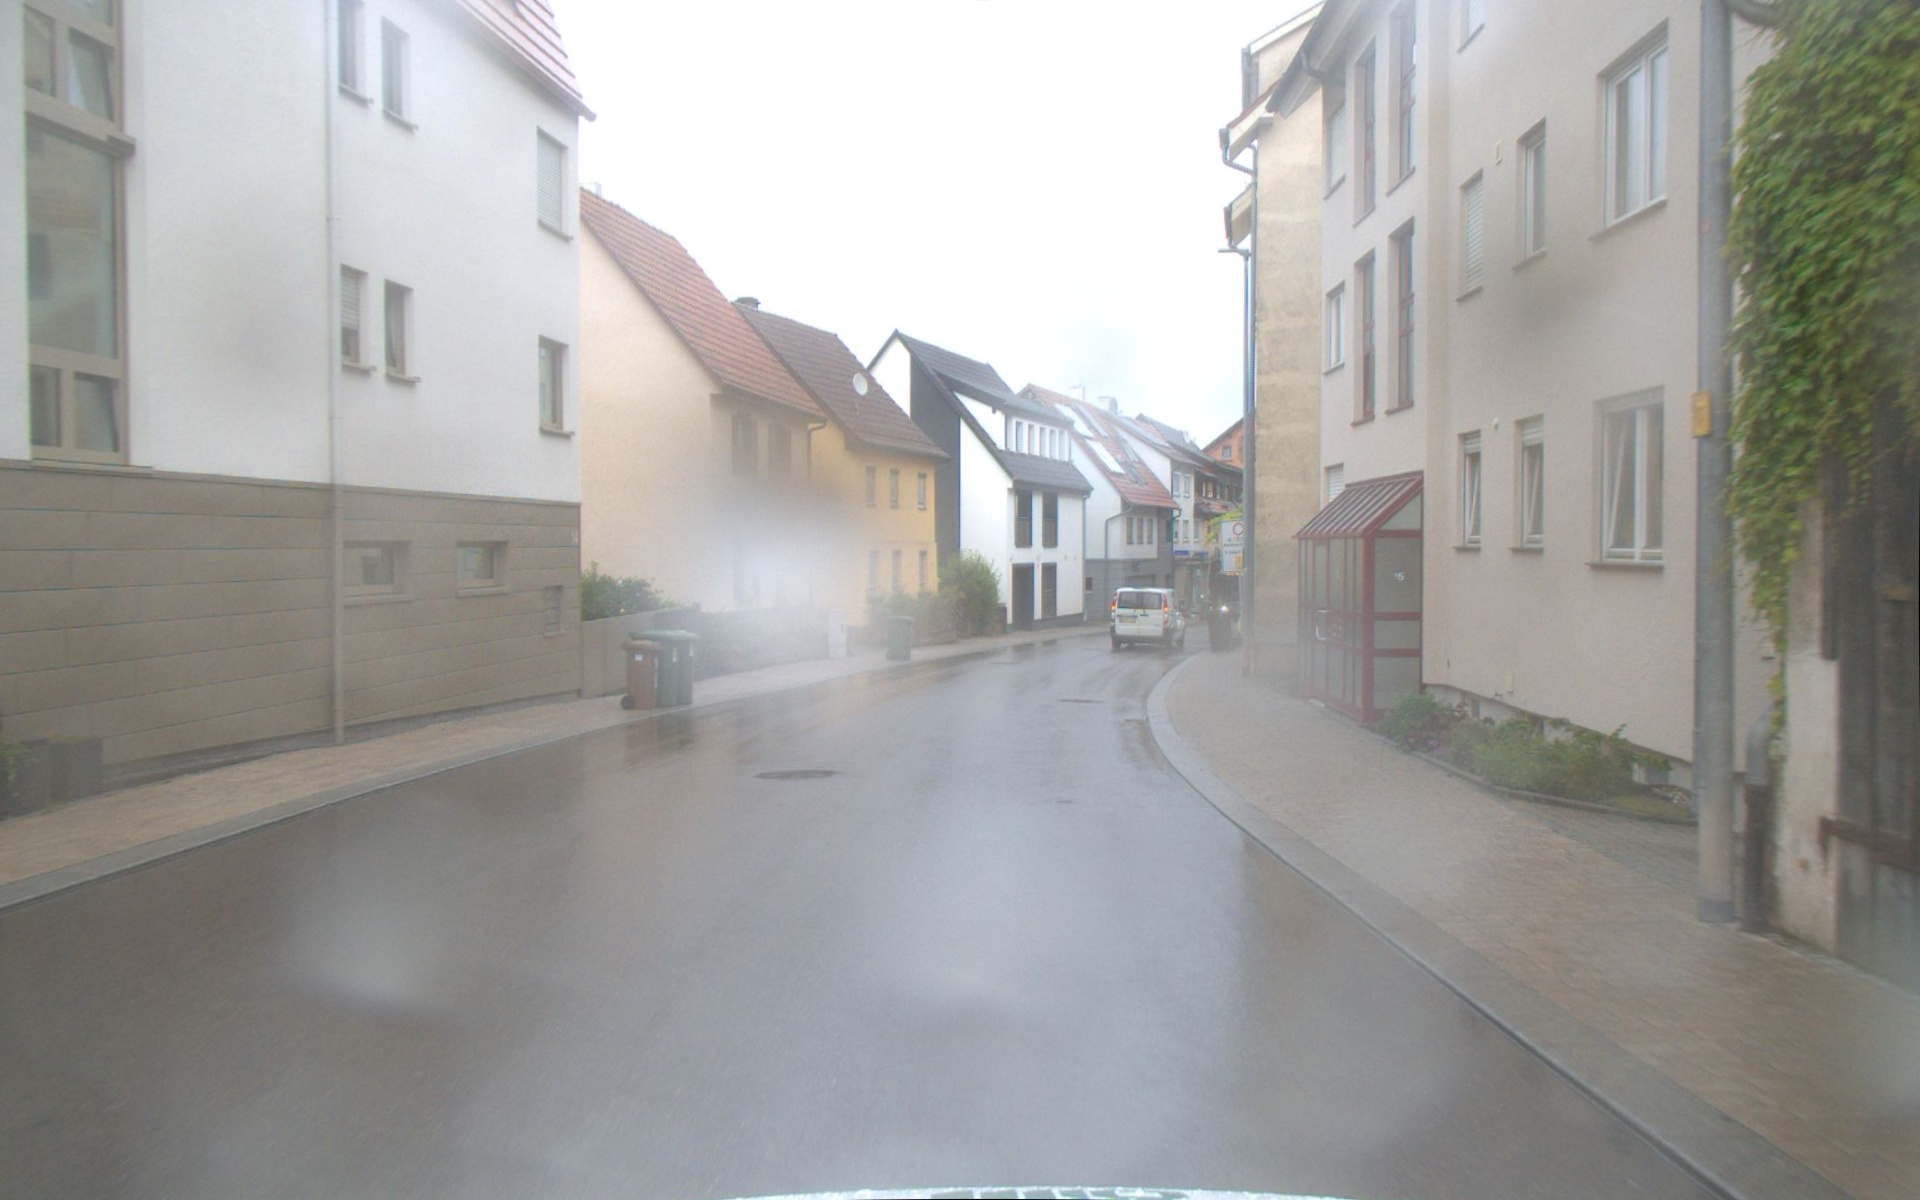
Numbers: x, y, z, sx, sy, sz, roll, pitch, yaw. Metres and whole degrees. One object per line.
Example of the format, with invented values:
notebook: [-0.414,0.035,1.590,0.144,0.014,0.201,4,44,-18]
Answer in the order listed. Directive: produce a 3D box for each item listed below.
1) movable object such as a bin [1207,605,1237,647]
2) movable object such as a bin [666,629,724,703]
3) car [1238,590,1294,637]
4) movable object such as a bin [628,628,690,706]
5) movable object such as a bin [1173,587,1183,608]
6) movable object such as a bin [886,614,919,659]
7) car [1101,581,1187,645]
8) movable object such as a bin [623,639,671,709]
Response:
movable object such as a bin: [7.612,0.759,48.022,0.750,1.193,1.542,0,0,14]
movable object such as a bin: [-3.948,0.970,24.640,0.667,1.064,0.662,1,0,8]
car: [10.632,0.443,57.279,1.569,1.510,3.303,-2,0,16]
movable object such as a bin: [-4.337,0.954,23.847,0.667,1.085,0.695,1,0,8]
movable object such as a bin: [12.182,-0.127,92.410,0.507,1.142,0.636,0,-1,11]
movable object such as a bin: [-1.435,0.915,41.241,0.645,1.074,0.764,2,0,9]
car: [5.795,0.390,51.642,2.148,1.884,4.308,-1,0,13]
movable object such as a bin: [-4.381,1.031,23.157,0.495,0.939,0.579,1,0,5]
